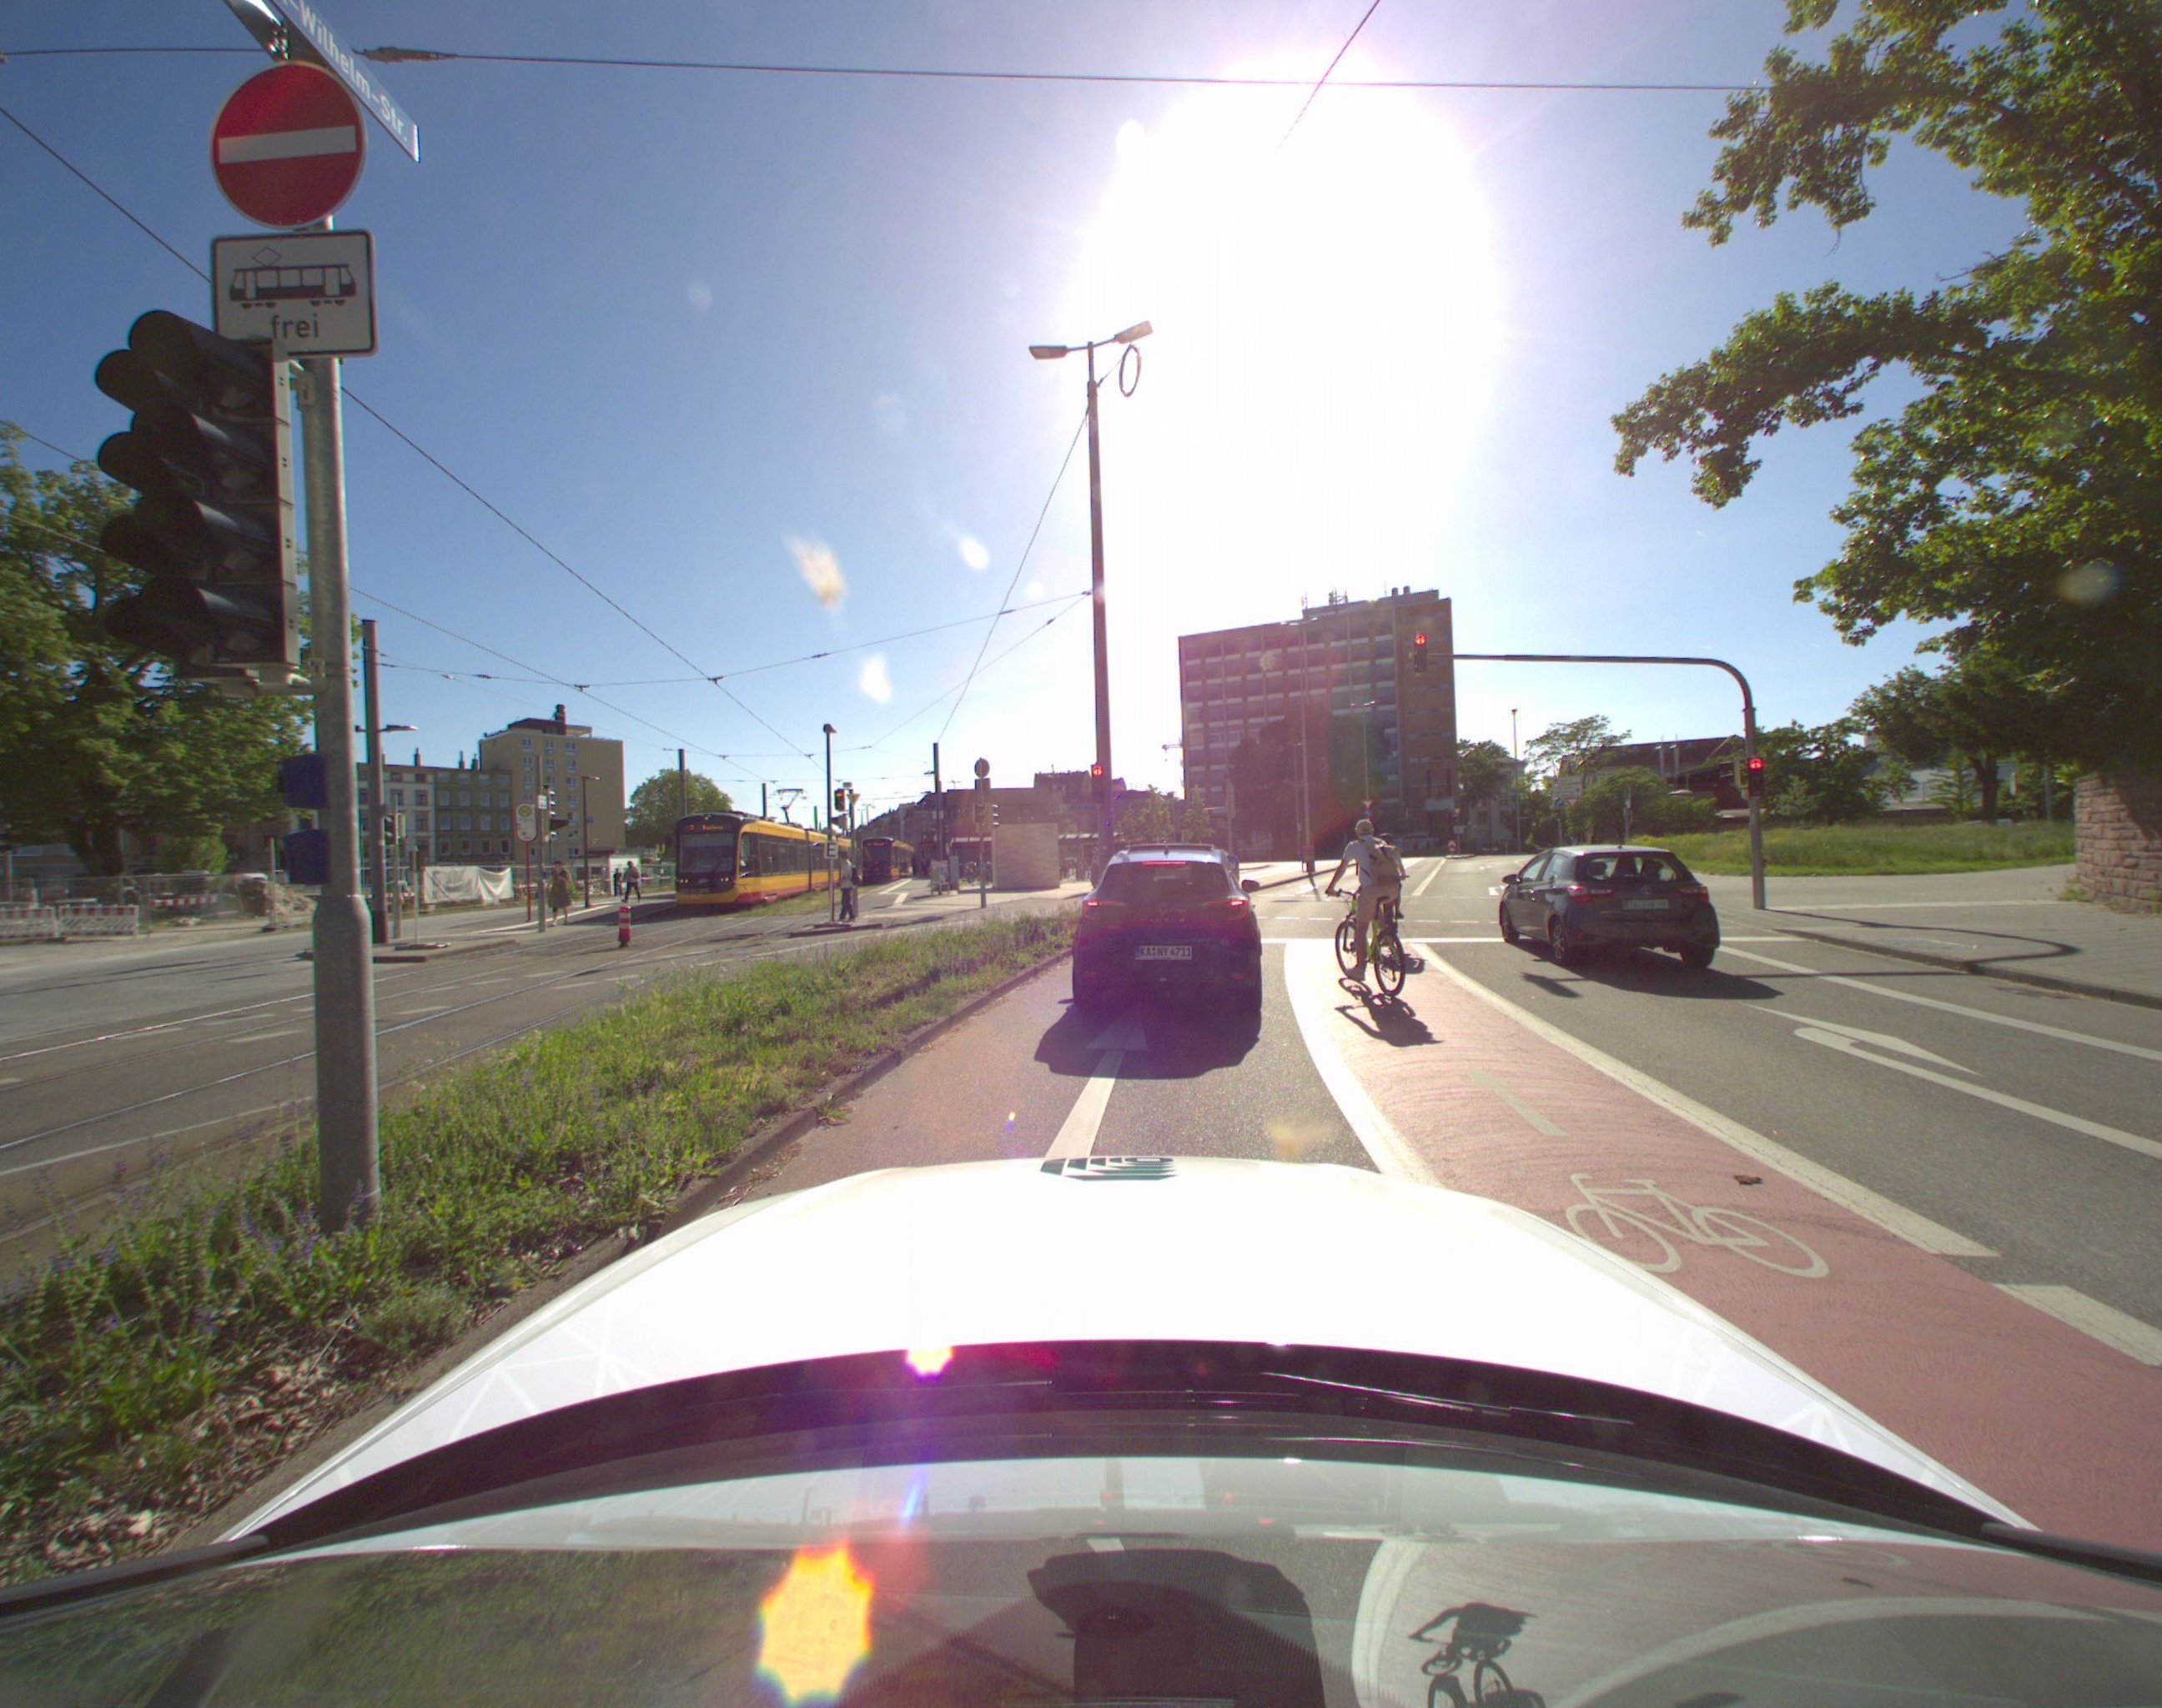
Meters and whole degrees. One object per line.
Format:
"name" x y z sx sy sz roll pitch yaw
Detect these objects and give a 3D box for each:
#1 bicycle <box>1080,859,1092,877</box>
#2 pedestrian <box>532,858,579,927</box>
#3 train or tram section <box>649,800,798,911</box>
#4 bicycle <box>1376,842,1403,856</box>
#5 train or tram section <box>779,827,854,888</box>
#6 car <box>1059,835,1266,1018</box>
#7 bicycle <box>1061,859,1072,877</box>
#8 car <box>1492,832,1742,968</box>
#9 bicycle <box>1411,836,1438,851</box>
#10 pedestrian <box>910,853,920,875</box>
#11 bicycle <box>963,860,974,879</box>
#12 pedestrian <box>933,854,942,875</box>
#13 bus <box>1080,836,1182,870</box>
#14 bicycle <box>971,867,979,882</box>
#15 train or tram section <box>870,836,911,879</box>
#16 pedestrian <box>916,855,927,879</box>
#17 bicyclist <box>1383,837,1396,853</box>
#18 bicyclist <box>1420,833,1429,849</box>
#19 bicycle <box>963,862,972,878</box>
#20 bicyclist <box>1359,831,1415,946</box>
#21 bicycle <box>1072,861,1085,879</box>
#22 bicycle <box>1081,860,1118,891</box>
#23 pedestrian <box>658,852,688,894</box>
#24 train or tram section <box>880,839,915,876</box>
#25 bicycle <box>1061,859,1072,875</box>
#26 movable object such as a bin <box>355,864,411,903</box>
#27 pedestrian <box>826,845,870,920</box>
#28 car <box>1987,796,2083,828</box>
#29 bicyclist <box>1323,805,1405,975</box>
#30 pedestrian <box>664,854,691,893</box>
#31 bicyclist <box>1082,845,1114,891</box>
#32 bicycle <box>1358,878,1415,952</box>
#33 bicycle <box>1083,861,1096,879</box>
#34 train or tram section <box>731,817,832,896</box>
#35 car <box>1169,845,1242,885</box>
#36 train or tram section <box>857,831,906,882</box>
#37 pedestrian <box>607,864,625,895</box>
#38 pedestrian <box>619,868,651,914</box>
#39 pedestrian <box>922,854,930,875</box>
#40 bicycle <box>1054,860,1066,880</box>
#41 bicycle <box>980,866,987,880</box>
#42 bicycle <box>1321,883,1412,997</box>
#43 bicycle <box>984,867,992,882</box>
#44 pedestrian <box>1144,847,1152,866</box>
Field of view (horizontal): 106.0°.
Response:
"bicycle" 0.283 0.889 51.300 0.579 1.088 2.055 -1 -1 -4
"pedestrian" -14.808 1.055 22.988 0.762 1.850 0.899 -2 2 -11
"train or tram section" -13.425 0.059 31.706 2.818 3.508 10.441 -2 0 -10
"bicycle" 35.669 -0.586 94.135 2.775 1.541 0.889 -2 -2 29
"train or tram section" -16.843 0.239 52.702 2.816 3.508 11.175 -1 0 -9
"car" 1.017 0.633 9.044 1.812 1.600 3.669 -1 0 10
"bicycle" -0.924 0.908 51.303 0.579 1.088 2.055 -1 -1 -4
"car" 7.105 0.533 11.258 1.743 1.541 3.672 -1 0 14
"bicycle" 38.978 -1.207 92.460 2.775 1.541 0.889 -2 -2 29
"pedestrian" -14.279 0.851 70.089 0.740 1.918 0.739 -1 -1 -10
"bicycle" -6.757 0.938 48.872 0.565 1.093 2.024 -1 -1 -6
"pedestrian" -13.261 0.942 75.282 0.740 1.918 0.739 -1 -2 -12
"bus" 5.285 0.025 89.923 12.289 3.396 2.899 -2 -2 44
"bicycle" -6.563 1.268 50.582 0.422 0.938 1.301 0 -1 -11
"train or tram section" -16.945 0.292 73.008 2.871 3.508 10.507 -1 0 -10
"pedestrian" -12.720 1.055 65.006 0.847 1.883 0.757 -1 -1 -12
"bicyclist" 35.664 -1.028 94.138 1.146 1.797 0.889 -2 -2 29
"bicyclist" 38.970 -1.468 92.449 0.850 1.692 0.889 -2 -2 29
"bicycle" -7.706 1.085 55.257 0.565 1.093 2.024 -1 -1 -6
"bicyclist" 4.545 0.490 12.160 0.716 1.626 1.060 -1 0 18
"bicycle" -0.152 0.891 45.578 0.579 0.961 2.055 -1 -1 -4
"bicycle" 0.715 0.796 30.494 0.767 1.080 2.045 -3 -1 18
"pedestrian" -19.991 0.933 39.901 0.958 2.014 0.998 -1 -1 -3
"train or tram section" -18.667 0.381 83.345 2.871 3.508 10.507 -1 0 -10
"bicycle" -1.075 0.946 58.809 0.580 1.088 1.867 -1 -1 -7
"movable object such as a bin" -51.152 2.159 59.674 3.949 2.796 1.844 -2 -2 28
"pedestrian" -5.918 0.711 20.675 1.020 1.832 0.755 0 -2 -20
"car" 71.570 -3.123 61.205 4.305 2.014 2.013 -2 -2 36
"bicyclist" 3.059 0.376 8.891 0.659 1.747 1.008 -2 0 11
"pedestrian" -21.244 1.013 42.881 0.958 2.014 0.998 -1 -1 -3
"bicyclist" 0.647 0.511 30.507 0.873 1.644 1.065 -3 -1 18
"bicycle" 4.593 0.882 12.323 0.716 0.960 1.892 -1 0 18
"bicycle" 0.464 0.882 45.628 0.579 0.961 2.055 -1 -1 -4
"train or tram section" -15.146 0.151 42.052 2.816 3.508 10.577 -1 0 -9
"car" 5.008 0.412 32.275 1.784 1.393 4.116 -2 0 24
"train or tram section" -15.177 0.188 62.667 2.871 3.508 10.507 -1 0 -10
"pedestrian" -27.853 1.527 48.788 0.668 1.767 0.797 -2 0 -11
"pedestrian" -18.026 1.469 32.915 0.863 1.767 0.969 -2 0 -14
"pedestrian" -13.266 0.898 69.650 0.633 1.857 0.699 0 -2 -15
"bicycle" -1.192 0.901 45.266 0.579 1.058 1.813 -1 -1 -4
"bicycle" -6.650 1.298 55.625 0.421 0.938 1.375 0 -1 -7
"bicycle" 3.105 0.890 9.009 0.658 1.047 1.896 -2 0 11
"bicycle" -5.802 1.261 50.869 0.422 0.938 1.301 0 -1 -11
"pedestrian" 6.581 0.288 79.829 0.720 1.857 0.705 -1 -2 12
